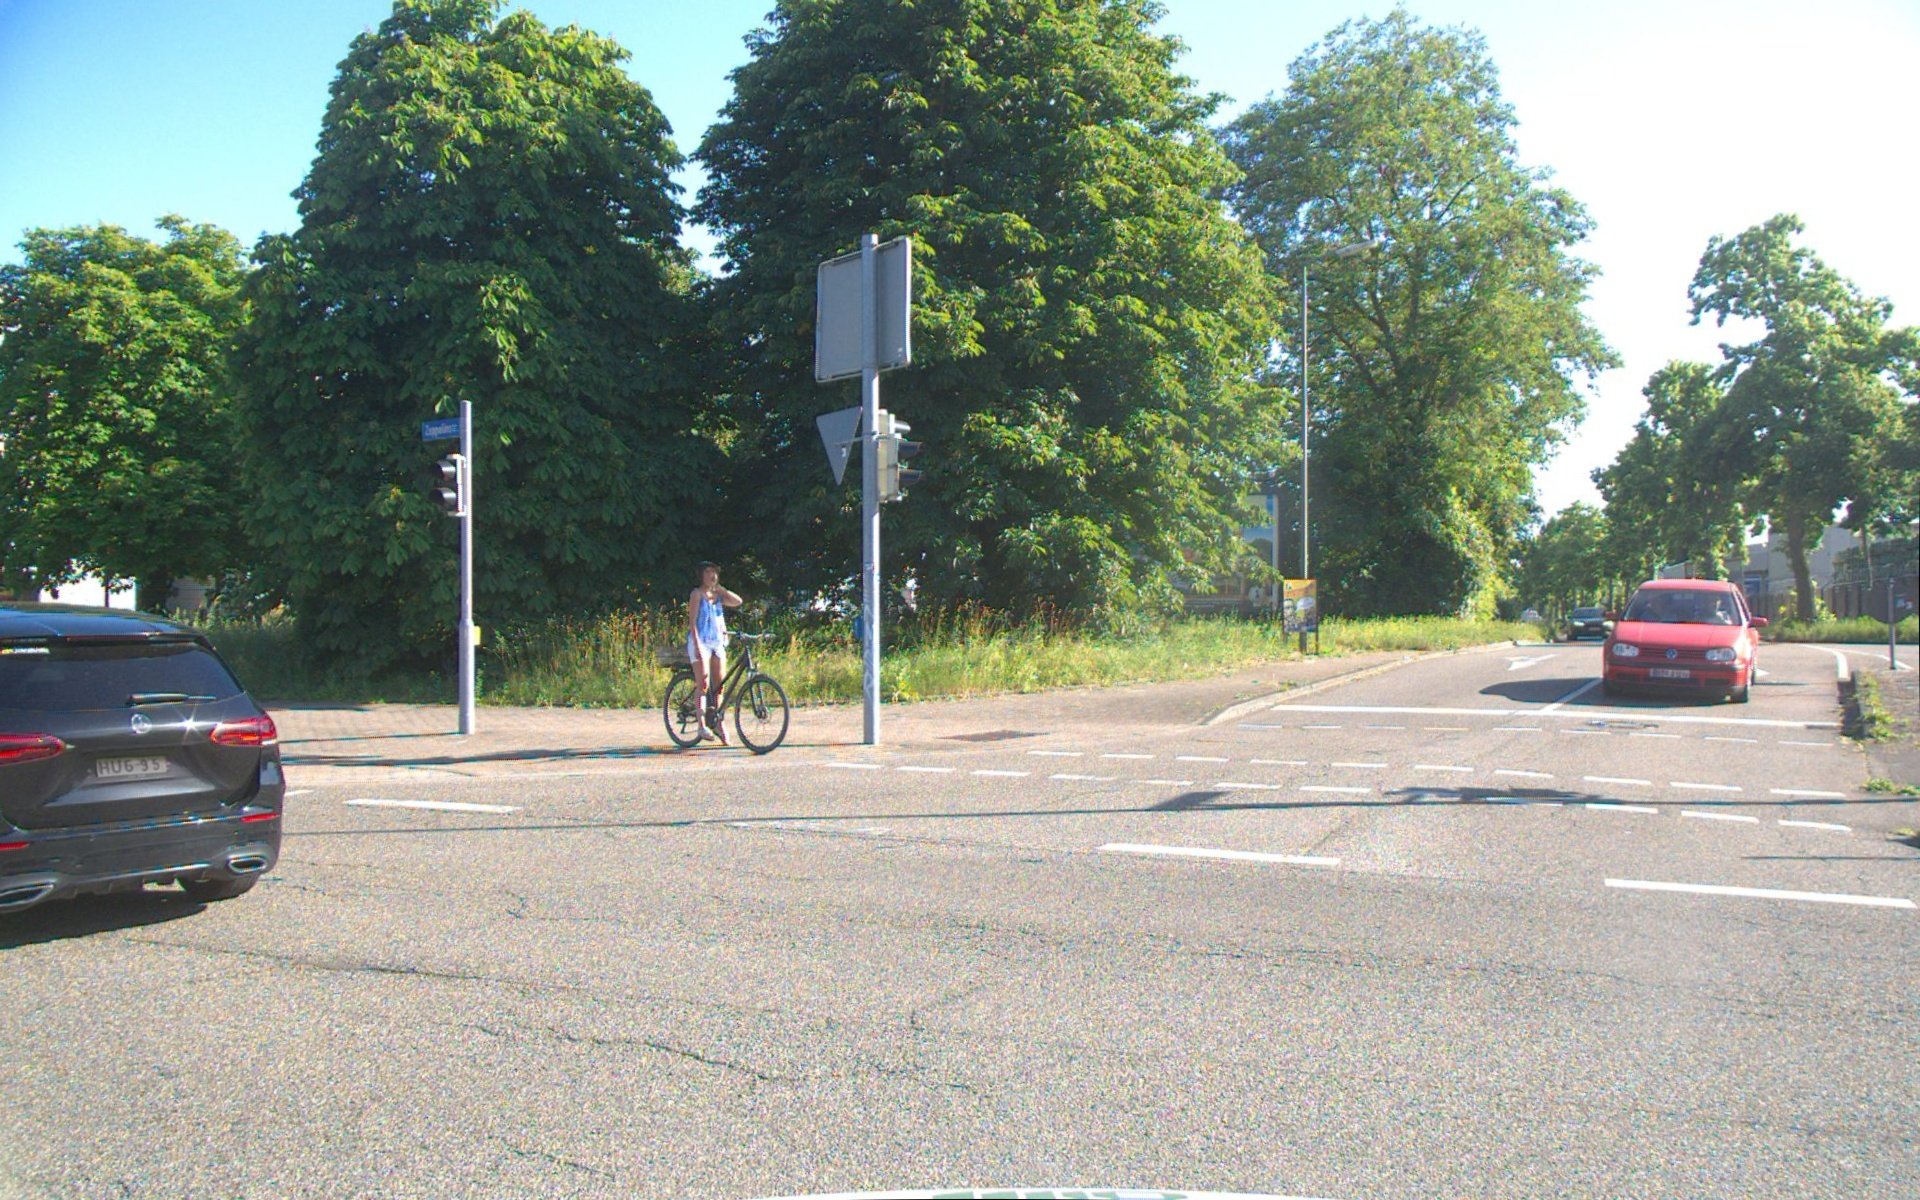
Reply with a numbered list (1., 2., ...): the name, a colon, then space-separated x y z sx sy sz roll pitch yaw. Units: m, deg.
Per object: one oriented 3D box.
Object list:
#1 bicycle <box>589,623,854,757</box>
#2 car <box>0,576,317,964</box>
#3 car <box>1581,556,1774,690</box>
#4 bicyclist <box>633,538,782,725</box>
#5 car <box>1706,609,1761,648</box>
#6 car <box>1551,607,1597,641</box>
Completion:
1. bicycle: -2.336 0.813 15.853 2.901 1.145 0.897 0 -1 43
2. car: -5.242 0.730 8.557 3.909 1.620 1.769 -1 -1 36
3. car: 9.513 0.239 21.738 1.823 1.495 4.131 -1 2 31
4. bicyclist: -2.440 0.298 15.967 1.169 1.722 0.887 0 -1 43
5. car: 33.475 1.233 71.663 1.653 1.660 3.133 -1 -1 16
6. car: 27.823 1.088 75.045 1.818 1.495 4.140 -1 -1 18
